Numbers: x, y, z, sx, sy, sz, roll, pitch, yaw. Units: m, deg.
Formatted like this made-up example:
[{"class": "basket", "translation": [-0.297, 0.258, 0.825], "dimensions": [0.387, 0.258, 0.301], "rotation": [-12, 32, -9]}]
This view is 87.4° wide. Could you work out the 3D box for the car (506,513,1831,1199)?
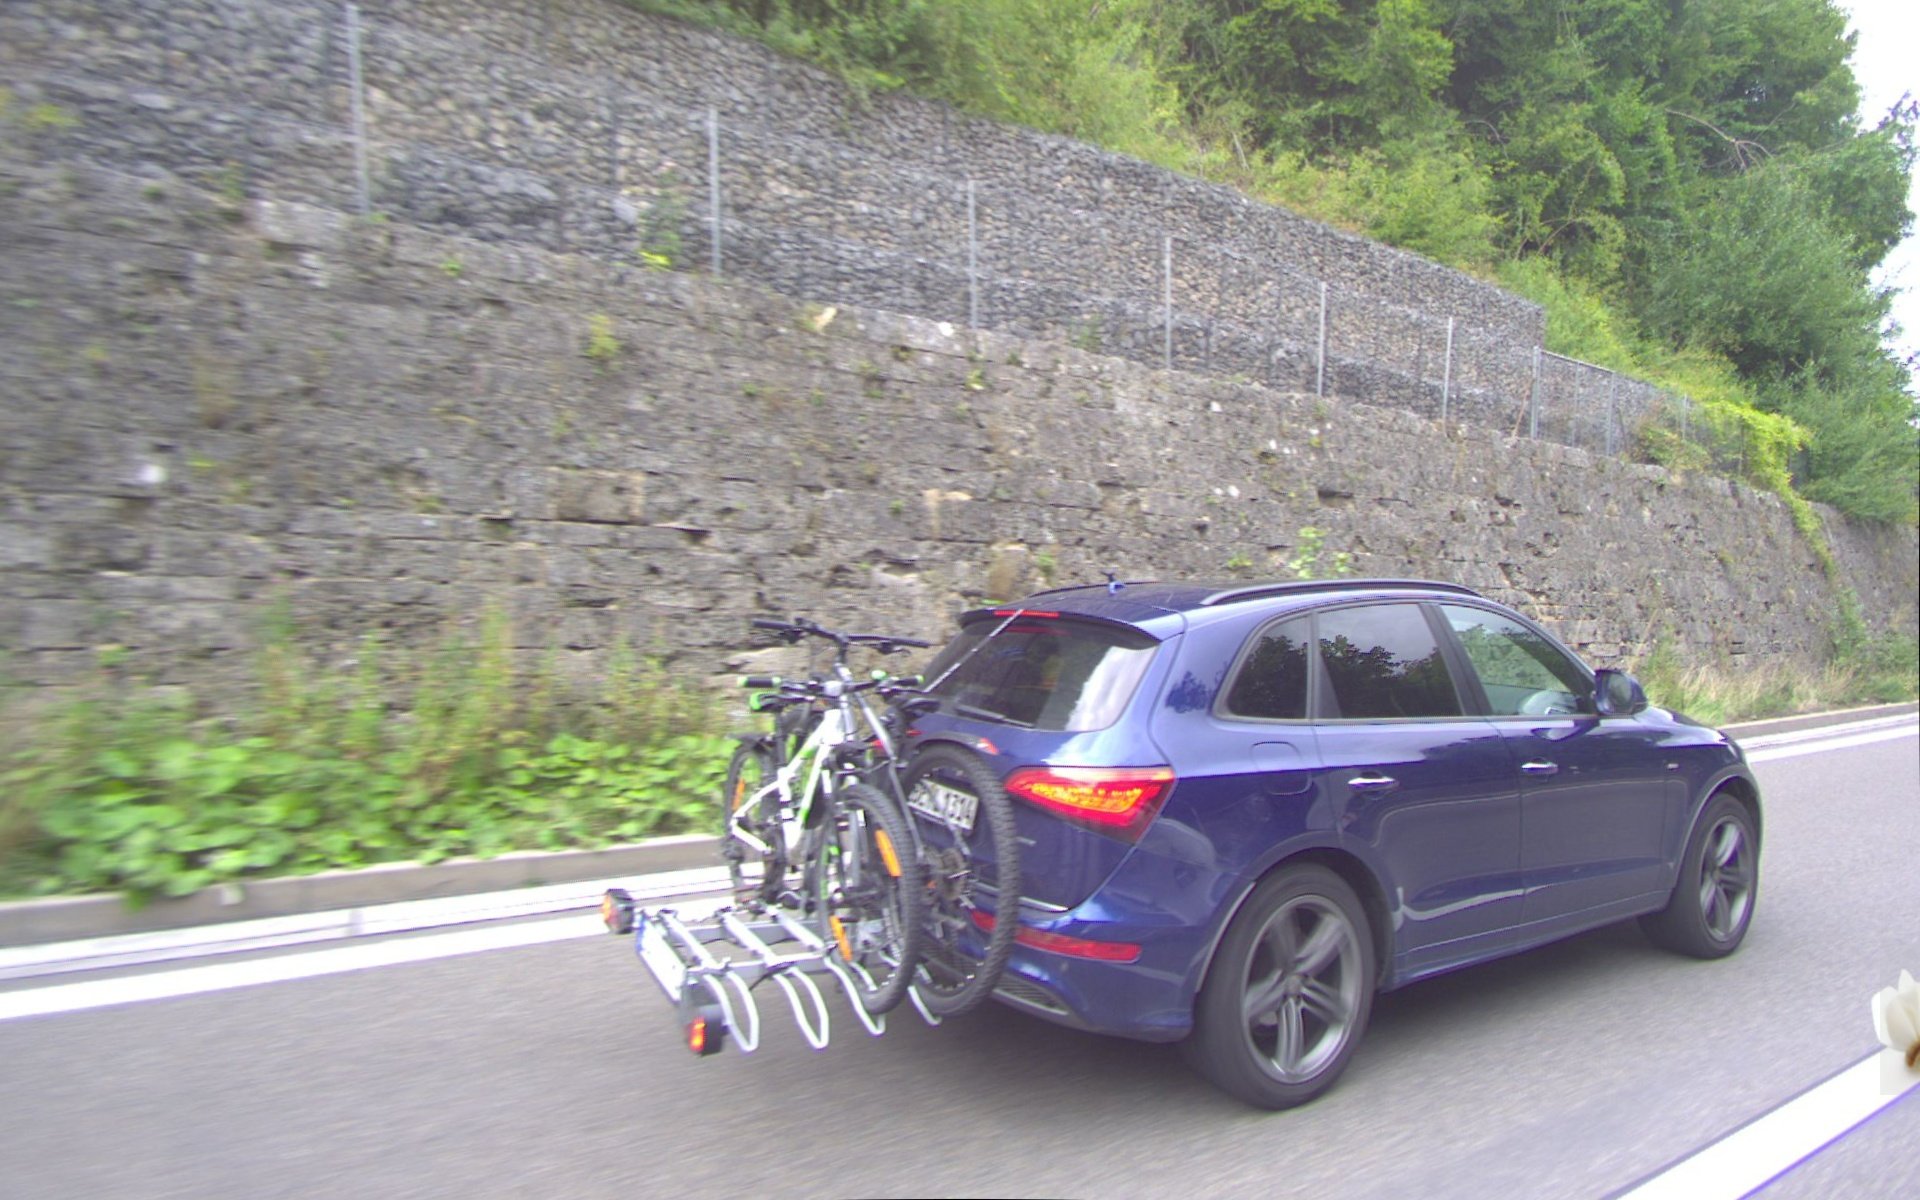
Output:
[{"class": "car", "translation": [1.239, 0.704, 4.208], "dimensions": [5.522, 1.614, 1.961], "rotation": [3, 1, -31]}]
